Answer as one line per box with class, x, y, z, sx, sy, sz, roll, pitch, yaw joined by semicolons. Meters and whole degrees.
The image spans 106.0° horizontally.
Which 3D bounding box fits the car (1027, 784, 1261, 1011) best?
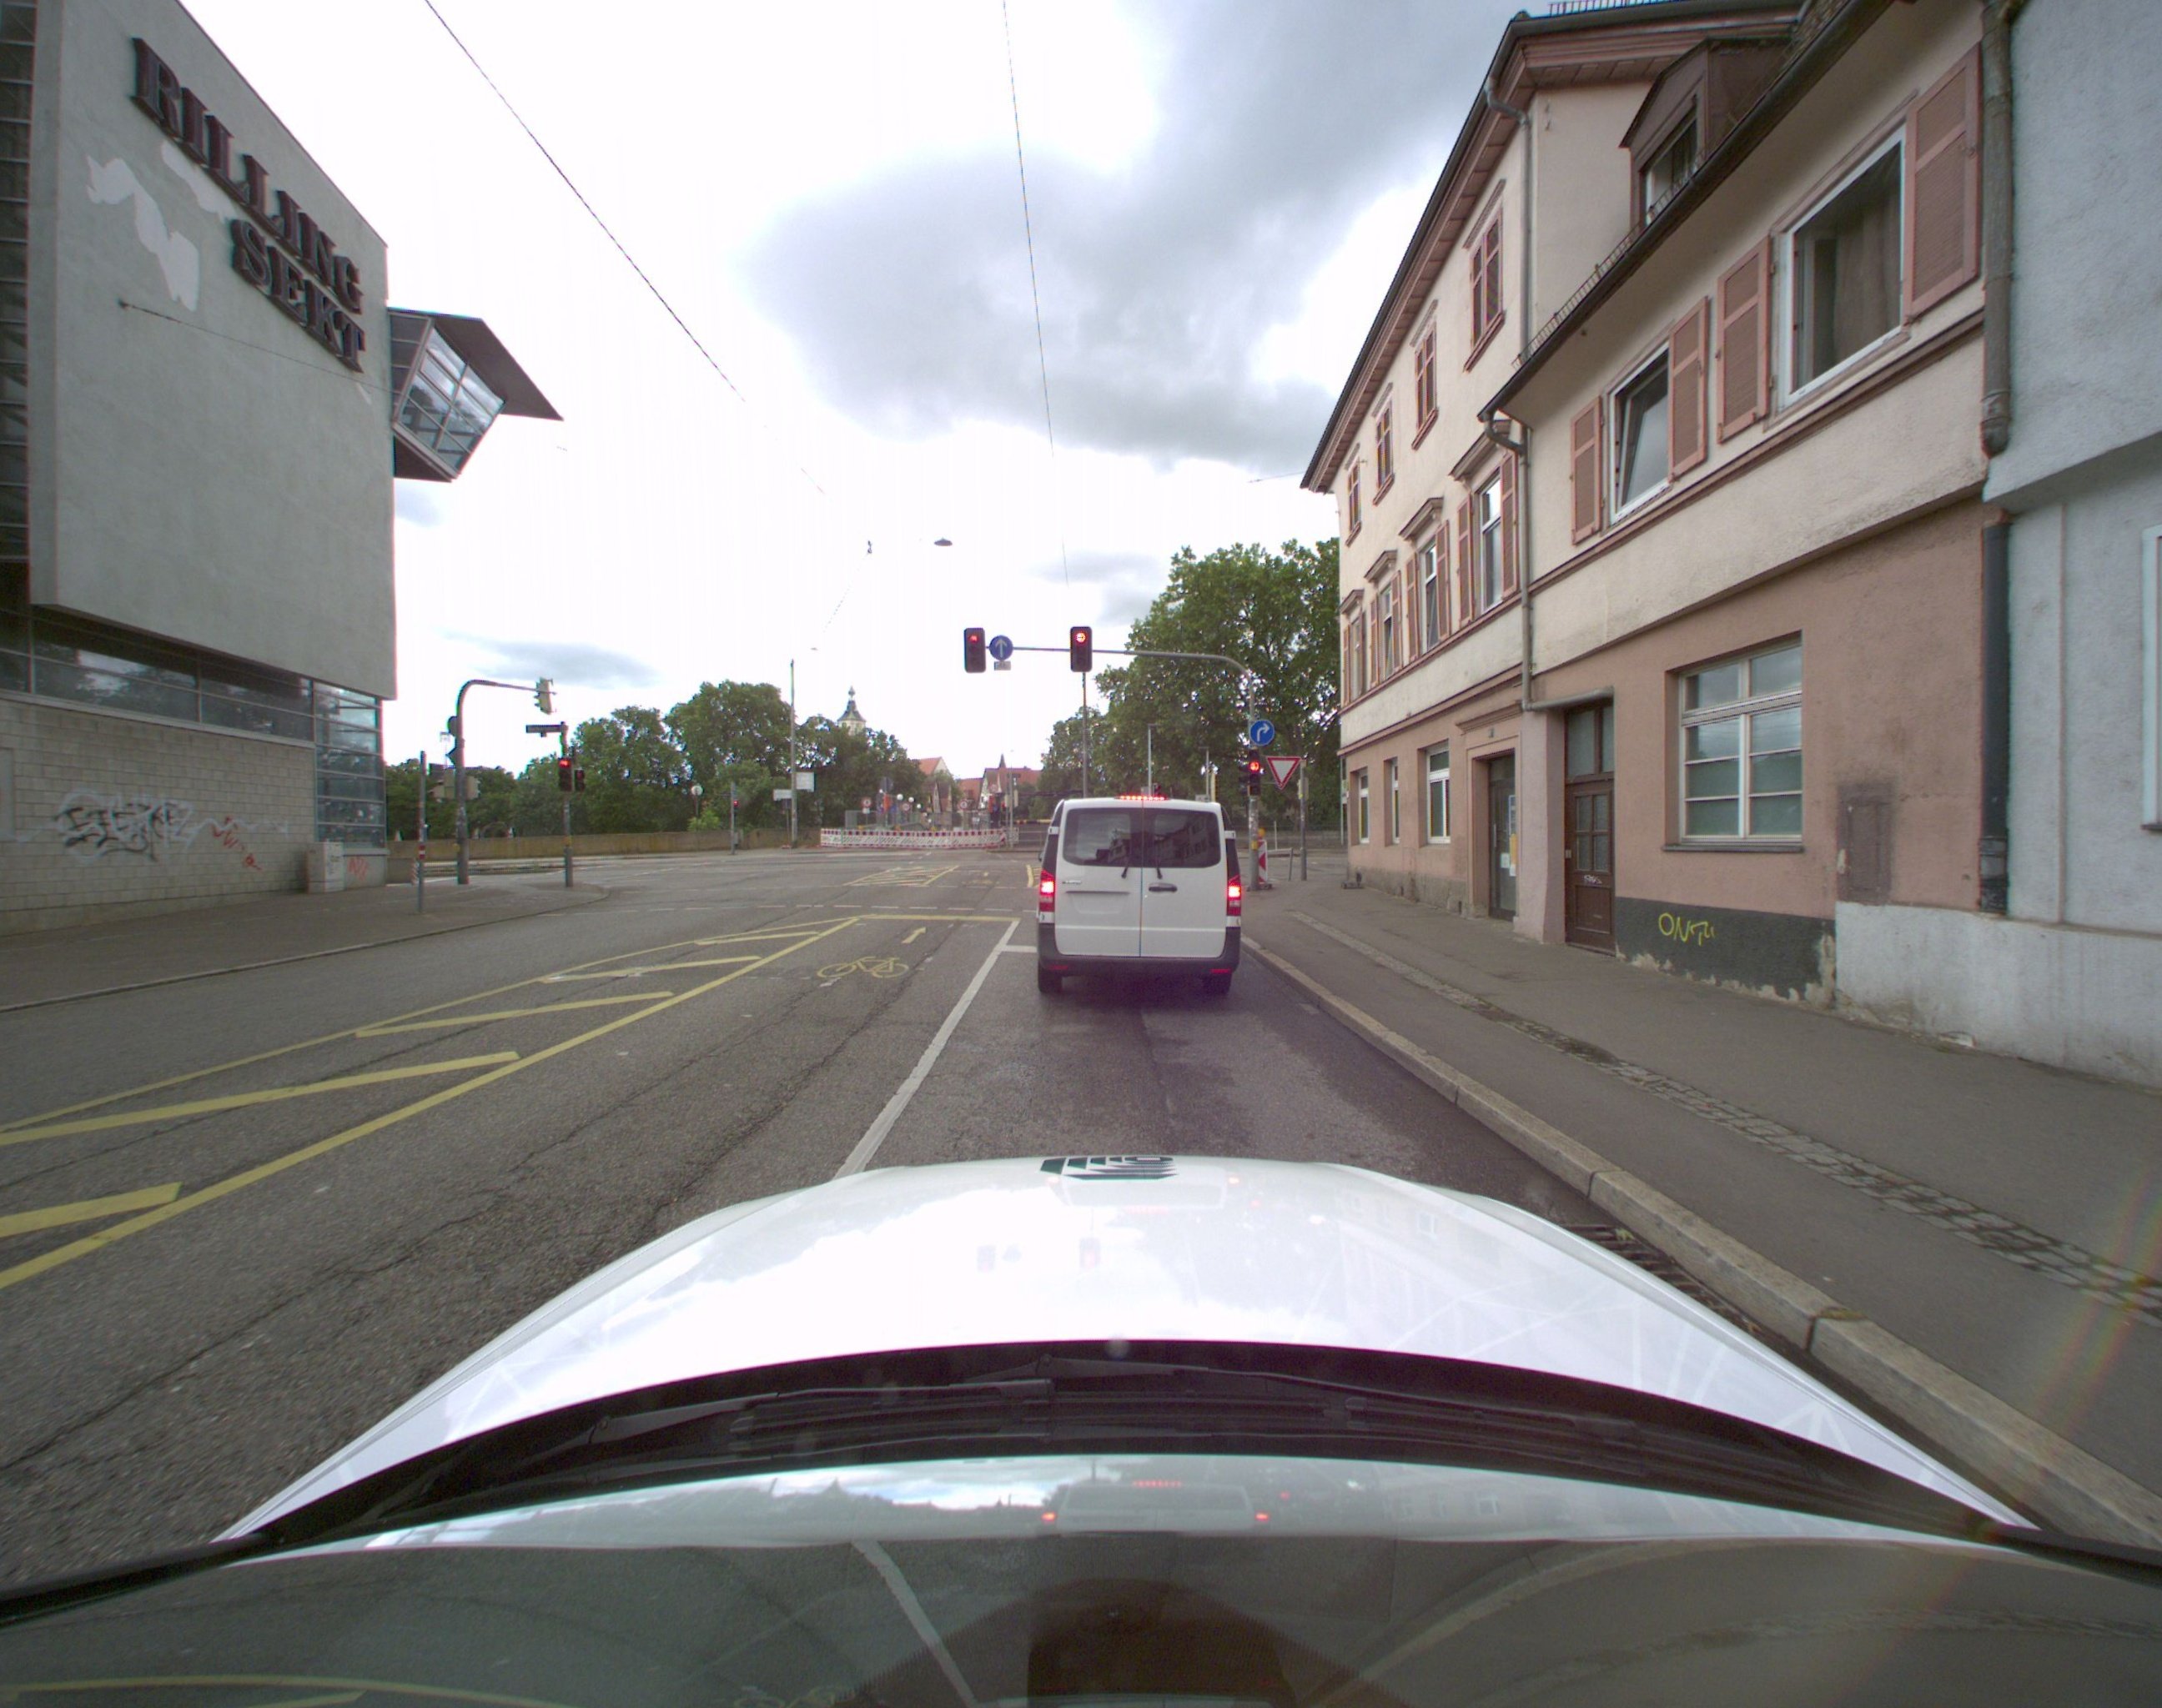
car;0.460;0.284;9.055;1.989;1.922;4.246;0;3;-2
